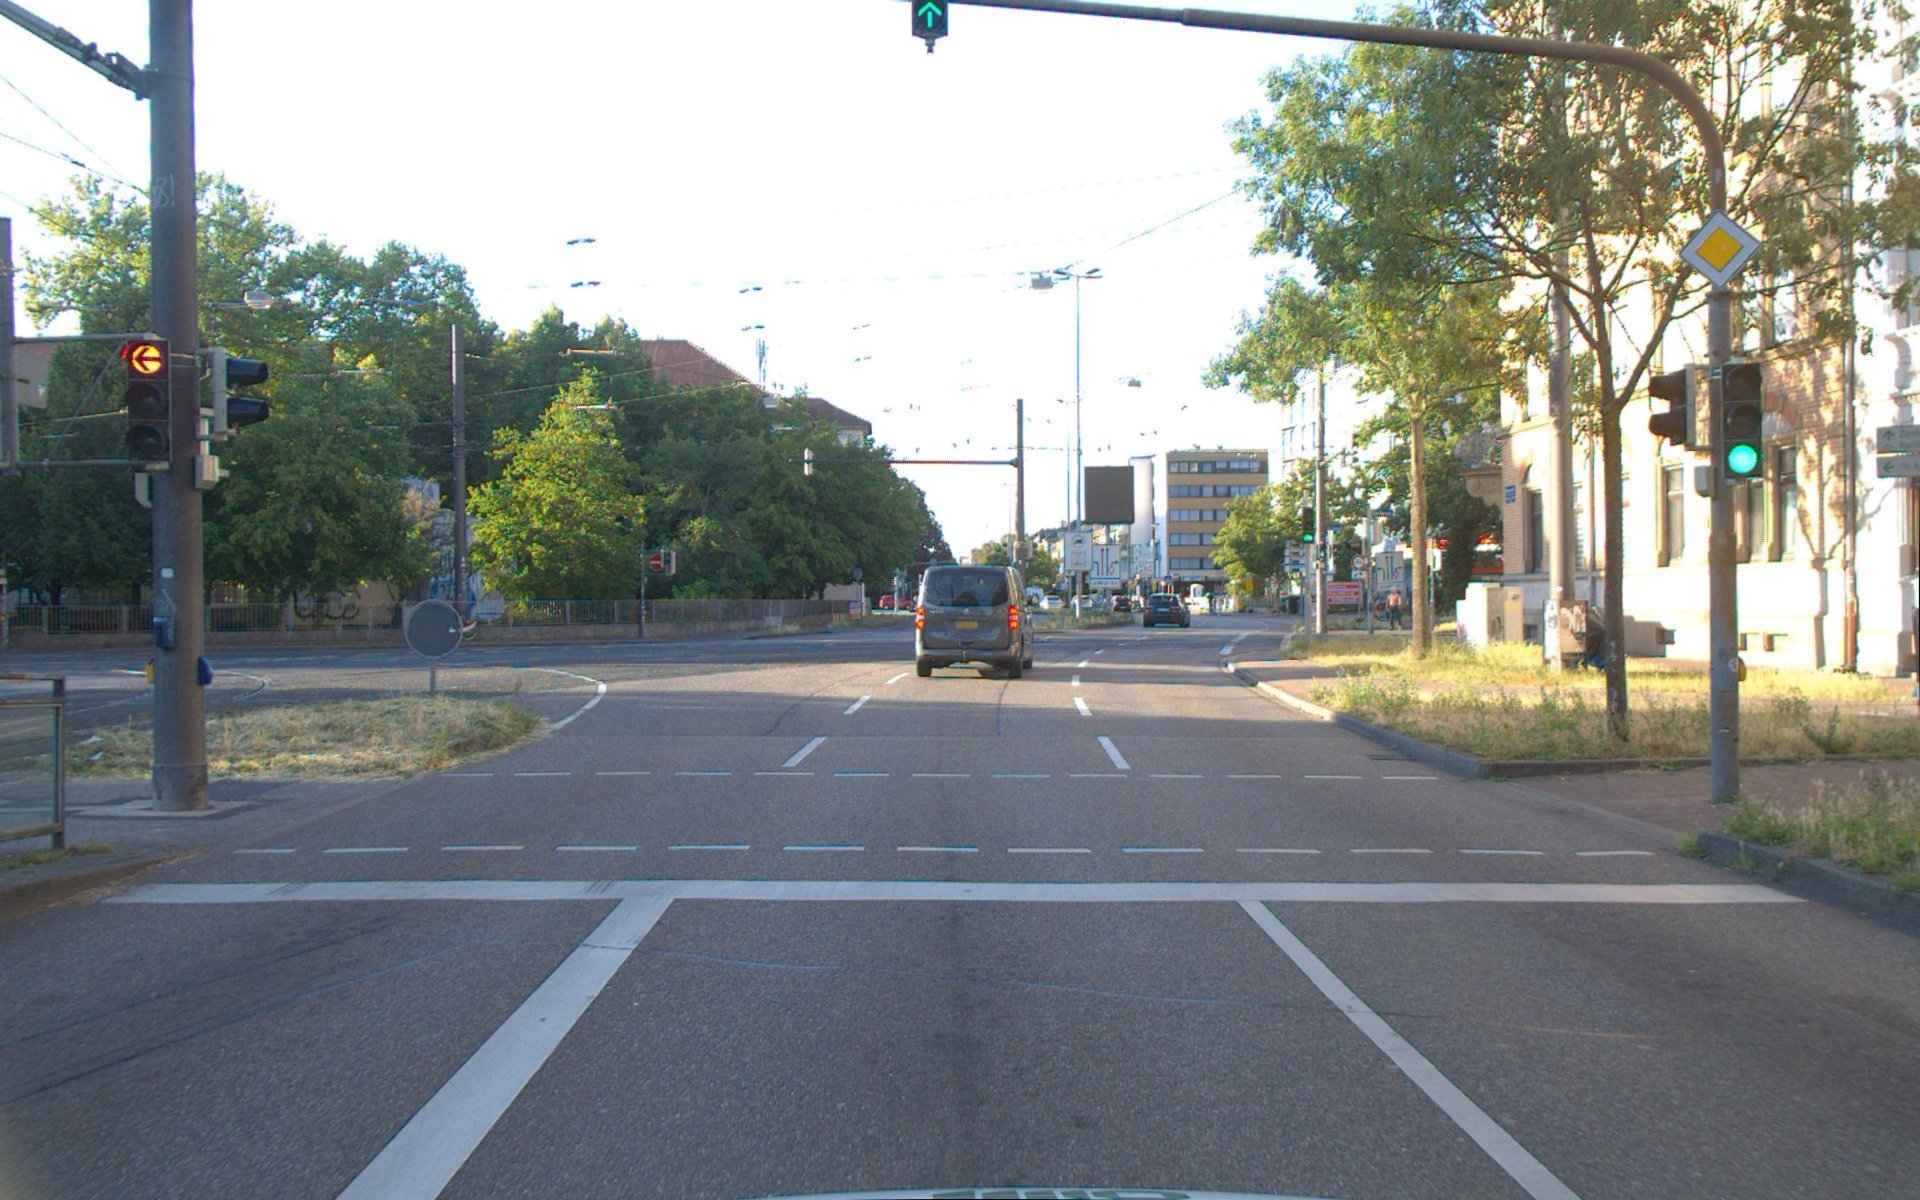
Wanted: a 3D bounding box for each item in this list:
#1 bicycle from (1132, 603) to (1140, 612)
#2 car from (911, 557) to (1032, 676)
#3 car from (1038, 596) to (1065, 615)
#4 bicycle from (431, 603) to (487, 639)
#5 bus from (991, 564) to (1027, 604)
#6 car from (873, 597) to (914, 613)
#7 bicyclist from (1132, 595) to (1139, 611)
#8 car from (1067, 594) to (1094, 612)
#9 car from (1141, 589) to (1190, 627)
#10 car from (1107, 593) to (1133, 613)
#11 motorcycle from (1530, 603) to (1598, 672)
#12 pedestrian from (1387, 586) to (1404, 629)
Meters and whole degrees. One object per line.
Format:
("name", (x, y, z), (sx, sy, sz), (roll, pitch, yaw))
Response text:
("bicycle", (16.292, 0.684, 153.274), (0.522, 0.862, 1.683), (-1, 0, -1))
("car", (0.285, 0.280, 29.682), (1.952, 1.934, 4.300), (1, 0, 3))
("car", (8.417, 0.463, 152.255), (1.954, 1.685, 4.295), (-1, 0, -4))
("bicycle", (-16.661, 0.684, 55.024), (1.709, 1.162, 0.550), (-1, 0, -44))
("bus", (5.844, -1.838, 197.949), (3.225, 4.698, 9.990), (1, 0, -5))
("car", (-6.977, 0.529, 174.375), (3.927, 1.623, 1.989), (0, 0, -19))
("bicyclist", (16.281, 0.298, 153.367), (0.530, 1.485, 0.641), (-1, 0, -1))
("car", (11.152, 0.280, 153.192), (1.954, 1.685, 4.295), (-1, 0, -4))
("car", (8.848, 0.318, 71.032), (1.806, 1.571, 3.634), (0, 0, 12))
("car", (14.289, 0.250, 147.979), (1.953, 1.685, 4.299), (-1, 0, 0))
("motorcycle", (9.703, 0.579, 26.613), (0.591, 1.062, 1.745), (0, 0, 5))
("pedestrian", (16.859, 0.278, 64.085), (0.540, 1.657, 0.700), (-1, 0, 8))
